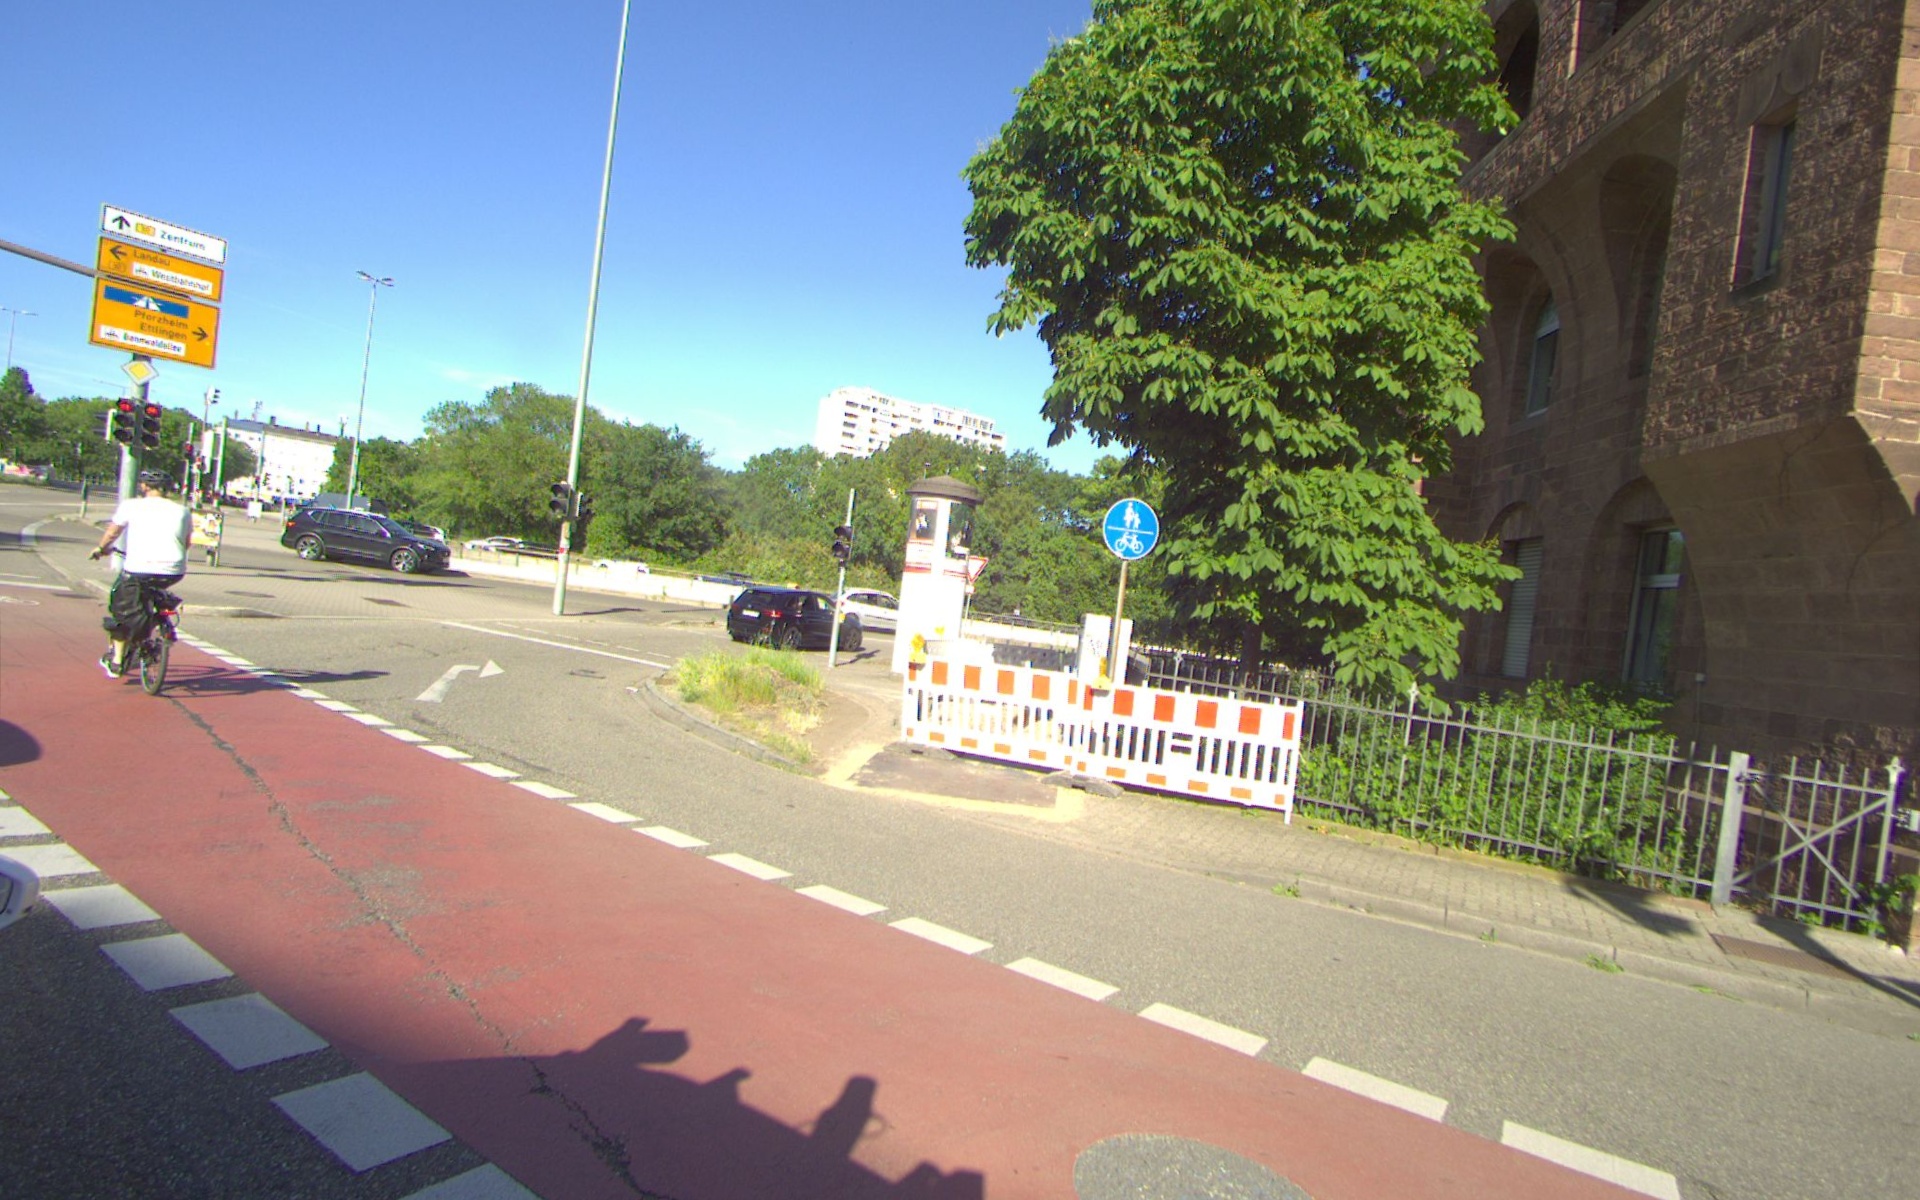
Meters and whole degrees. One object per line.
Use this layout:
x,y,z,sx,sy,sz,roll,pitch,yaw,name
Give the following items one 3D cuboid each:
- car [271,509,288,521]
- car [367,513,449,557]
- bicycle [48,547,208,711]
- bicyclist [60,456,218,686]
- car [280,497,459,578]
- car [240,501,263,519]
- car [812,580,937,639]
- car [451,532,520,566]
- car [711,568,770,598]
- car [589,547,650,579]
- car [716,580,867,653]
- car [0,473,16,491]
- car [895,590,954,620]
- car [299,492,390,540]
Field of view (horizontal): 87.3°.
-116.383,-14.559,172.077,1.978,1.660,3.968,6,1,-30,car
-33.598,-3.914,61.342,3.943,2.037,1.992,7,-2,-20,car
-6.887,0.185,8.402,0.796,1.123,2.377,9,-2,-38,bicycle
-6.864,-0.231,8.453,0.796,1.724,1.074,8,-2,-39,bicyclist
-18.495,-1.913,31.707,4.287,1.857,1.998,7,-2,-10,car
-97.496,-12.358,138.471,1.977,1.815,3.974,7,-2,-28,car
-3.129,0.336,36.749,4.048,1.602,1.816,7,1,-22,car
-32.677,-3.492,69.432,3.943,1.770,1.992,7,-2,-20,car
-16.464,-1.251,75.436,3.947,1.681,1.990,7,-2,-23,car
-24.316,-2.608,71.840,3.943,1.703,1.850,7,-2,-20,car
-4.321,0.488,26.372,1.725,1.512,3.995,9,1,26,car
-124.932,-15.456,130.825,1.998,1.876,4.398,7,-2,-31,car
-2.864,0.390,81.057,4.204,1.875,2.011,8,-3,-23,car
-42.167,-5.743,68.995,4.792,2.638,2.264,6,-1,9,car
